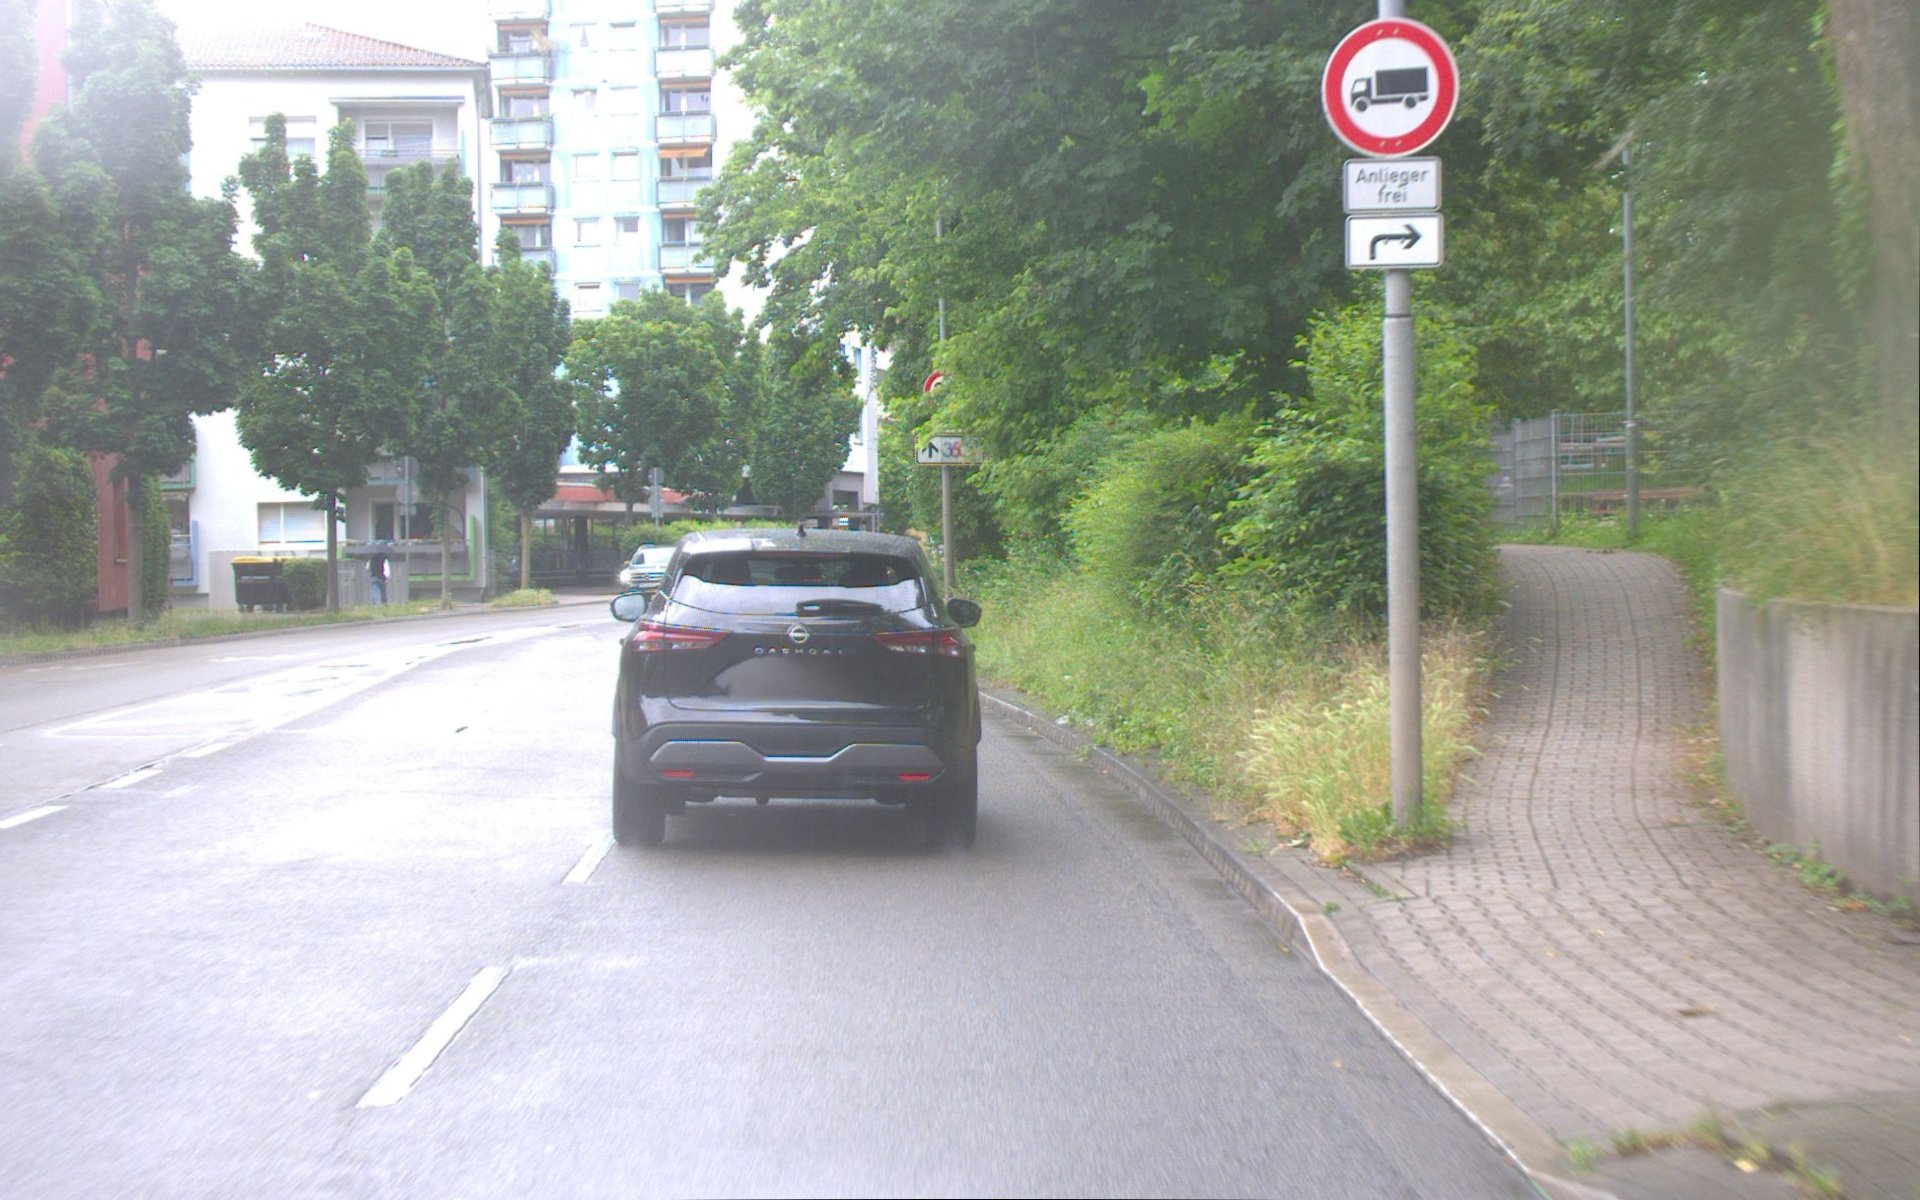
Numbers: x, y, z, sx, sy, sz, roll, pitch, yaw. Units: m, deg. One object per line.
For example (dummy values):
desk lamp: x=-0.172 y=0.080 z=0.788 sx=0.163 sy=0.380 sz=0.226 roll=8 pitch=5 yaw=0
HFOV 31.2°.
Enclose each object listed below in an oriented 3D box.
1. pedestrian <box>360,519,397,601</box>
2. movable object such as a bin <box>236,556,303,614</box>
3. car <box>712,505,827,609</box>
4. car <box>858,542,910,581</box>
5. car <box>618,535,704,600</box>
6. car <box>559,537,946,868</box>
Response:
pedestrian: x=-14.429 y=-0.984 z=85.334 sx=0.716 sy=2.007 sz=0.950 roll=-1 pitch=1 yaw=-1
movable object such as a bin: x=-16.455 y=-0.364 z=81.971 sx=1.321 sy=1.357 sz=1.258 roll=-1 pitch=1 yaw=-1
car: x=-3.232 y=-0.732 z=58.943 sx=1.887 sy=1.705 sz=4.000 roll=-1 pitch=1 yaw=-2
car: x=-2.769 y=-1.419 z=125.599 sx=1.500 sy=1.344 sz=3.360 roll=-1 pitch=1 yaw=5
car: x=-8.802 y=-0.982 z=101.422 sx=1.799 sy=1.835 sz=3.999 roll=-1 pitch=1 yaw=5
car: x=-1.094 y=0.462 z=18.436 sx=1.844 sy=1.577 sz=4.001 roll=0 pitch=1 yaw=-3
